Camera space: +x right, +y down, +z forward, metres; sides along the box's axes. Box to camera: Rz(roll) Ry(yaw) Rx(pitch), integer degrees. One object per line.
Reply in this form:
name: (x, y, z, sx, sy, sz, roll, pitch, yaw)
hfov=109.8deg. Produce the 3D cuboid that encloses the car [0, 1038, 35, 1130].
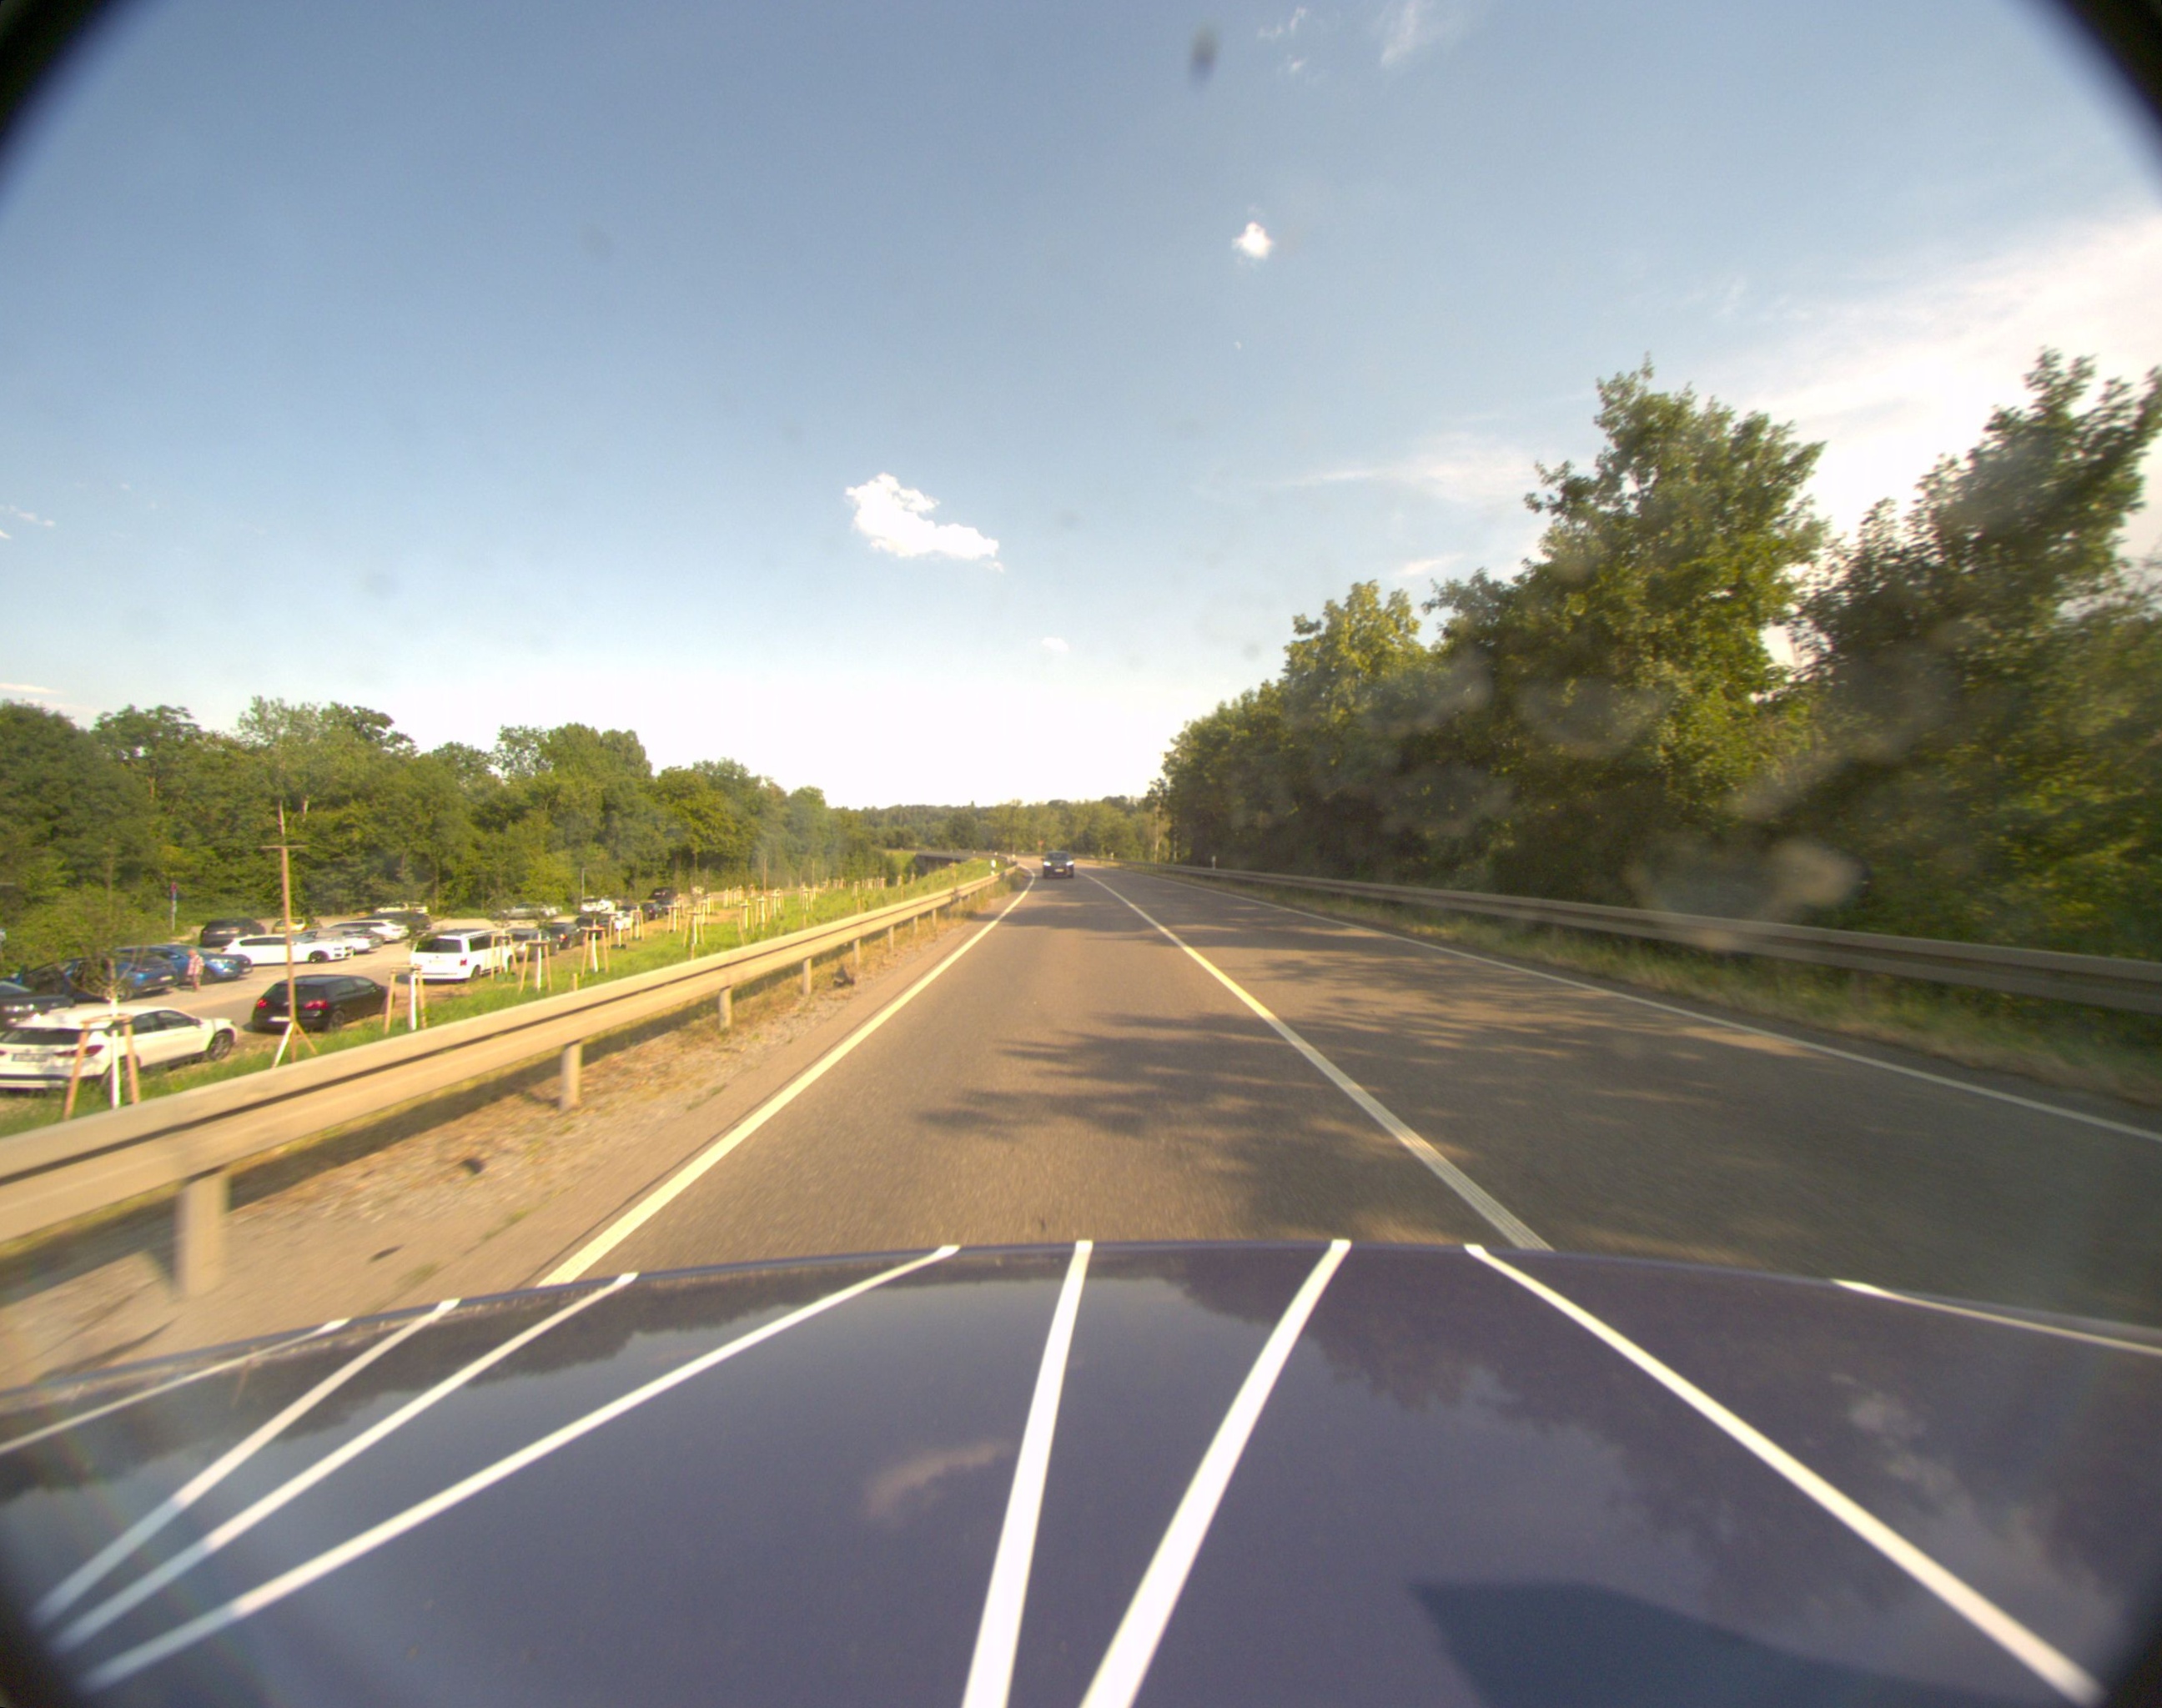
car: (-19.961, 4.182, 11.776, 1.900, 1.550, 4.775, 3, -1, -18)

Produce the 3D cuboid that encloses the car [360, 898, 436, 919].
car: (-54.942, 4.369, 61.214, 4.248, 1.447, 1.711, 0, 0, -12)

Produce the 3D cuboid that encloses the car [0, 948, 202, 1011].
car: (-34.266, 4.336, 26.541, 4.250, 1.595, 1.830, -2, 1, -18)

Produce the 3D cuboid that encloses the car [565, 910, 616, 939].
car: (-30.809, 4.398, 47.845, 1.826, 1.473, 4.387, 1, -1, -22)

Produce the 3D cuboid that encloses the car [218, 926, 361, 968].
car: (-37.031, 4.338, 35.701, 4.251, 1.489, 1.769, -2, 0, -23)

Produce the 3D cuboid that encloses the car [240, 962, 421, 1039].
car: (-22.411, 4.319, 23.006, 1.900, 1.473, 4.775, 3, -1, -18)

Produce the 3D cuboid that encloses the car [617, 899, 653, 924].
car: (-34.522, 4.448, 58.912, 1.826, 1.649, 4.249, 1, -1, -22)

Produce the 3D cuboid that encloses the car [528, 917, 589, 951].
car: (-28.941, 4.392, 42.214, 1.826, 1.473, 4.387, 1, -1, -22)

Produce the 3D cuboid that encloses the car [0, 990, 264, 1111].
car: (-21.344, 4.232, 17.078, 1.900, 1.550, 4.775, 3, -1, -18)

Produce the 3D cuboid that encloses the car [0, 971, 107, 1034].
car: (-31.200, 4.266, 21.690, 4.245, 1.480, 1.834, -1, -2, -3)

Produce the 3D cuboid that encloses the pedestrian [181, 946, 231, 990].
pedestrian: (-32.665, 4.239, 28.360, 0.920, 1.462, 0.890, 1, -1, 16)

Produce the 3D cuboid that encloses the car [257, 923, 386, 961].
car: (-38.050, 4.369, 38.194, 4.252, 1.447, 1.614, -2, 1, -24)

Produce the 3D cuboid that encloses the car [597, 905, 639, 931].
car: (-32.231, 4.437, 52.966, 1.826, 1.473, 4.249, 1, -1, -22)

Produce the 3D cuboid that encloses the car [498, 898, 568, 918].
car: (-44.078, 4.361, 61.235, 4.250, 1.447, 1.615, 1, -1, -18)

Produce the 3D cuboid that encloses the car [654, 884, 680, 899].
car: (-49.617, 4.481, 91.152, 1.660, 1.488, 3.824, 0, 1, -11)

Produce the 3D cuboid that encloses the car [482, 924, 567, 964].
car: (-27.155, 4.353, 37.289, 1.900, 1.473, 4.775, 3, -1, -18)

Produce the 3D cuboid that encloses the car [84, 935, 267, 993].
car: (-35.625, 4.275, 30.068, 4.251, 1.732, 1.830, -2, 0, -23)

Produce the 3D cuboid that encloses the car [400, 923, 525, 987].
car: (-25.286, 4.057, 31.360, 2.128, 2.006, 5.371, 3, -1, -18)

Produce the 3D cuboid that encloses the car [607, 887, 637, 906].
car: (-44.566, 4.108, 73.798, 1.661, 1.488, 4.215, 0, 1, -20)

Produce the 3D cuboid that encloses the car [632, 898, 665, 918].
car: (-36.130, 4.483, 63.566, 1.826, 1.393, 4.249, 1, -1, -22)

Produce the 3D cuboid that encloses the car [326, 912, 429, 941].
car: (-42.440, 4.355, 45.976, 4.252, 1.447, 1.614, -1, 0, -24)

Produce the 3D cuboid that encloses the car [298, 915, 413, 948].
car: (-41.136, 4.381, 43.228, 4.422, 1.447, 1.731, -1, 0, -28)

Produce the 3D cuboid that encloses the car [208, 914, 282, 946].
car: (-48.314, 4.344, 44.006, 1.620, 1.447, 4.237, 1, -1, -29)

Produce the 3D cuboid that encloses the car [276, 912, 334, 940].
car: (-48.008, 4.423, 47.094, 1.502, 1.447, 3.667, 1, -1, -29)

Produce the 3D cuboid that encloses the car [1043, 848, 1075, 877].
car: (-1.400, 0.485, 46.969, 1.751, 1.645, 4.303, -1, 2, -4)

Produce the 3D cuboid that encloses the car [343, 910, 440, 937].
car: (-43.704, 4.375, 48.243, 4.252, 1.447, 1.614, 0, 0, -24)

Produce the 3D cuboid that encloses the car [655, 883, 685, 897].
car: (-51.864, 4.525, 95.839, 3.674, 1.488, 1.663, 1, 1, 30)

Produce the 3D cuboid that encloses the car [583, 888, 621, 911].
car: (-42.694, 4.035, 67.828, 1.661, 1.657, 4.700, 0, 1, -17)
